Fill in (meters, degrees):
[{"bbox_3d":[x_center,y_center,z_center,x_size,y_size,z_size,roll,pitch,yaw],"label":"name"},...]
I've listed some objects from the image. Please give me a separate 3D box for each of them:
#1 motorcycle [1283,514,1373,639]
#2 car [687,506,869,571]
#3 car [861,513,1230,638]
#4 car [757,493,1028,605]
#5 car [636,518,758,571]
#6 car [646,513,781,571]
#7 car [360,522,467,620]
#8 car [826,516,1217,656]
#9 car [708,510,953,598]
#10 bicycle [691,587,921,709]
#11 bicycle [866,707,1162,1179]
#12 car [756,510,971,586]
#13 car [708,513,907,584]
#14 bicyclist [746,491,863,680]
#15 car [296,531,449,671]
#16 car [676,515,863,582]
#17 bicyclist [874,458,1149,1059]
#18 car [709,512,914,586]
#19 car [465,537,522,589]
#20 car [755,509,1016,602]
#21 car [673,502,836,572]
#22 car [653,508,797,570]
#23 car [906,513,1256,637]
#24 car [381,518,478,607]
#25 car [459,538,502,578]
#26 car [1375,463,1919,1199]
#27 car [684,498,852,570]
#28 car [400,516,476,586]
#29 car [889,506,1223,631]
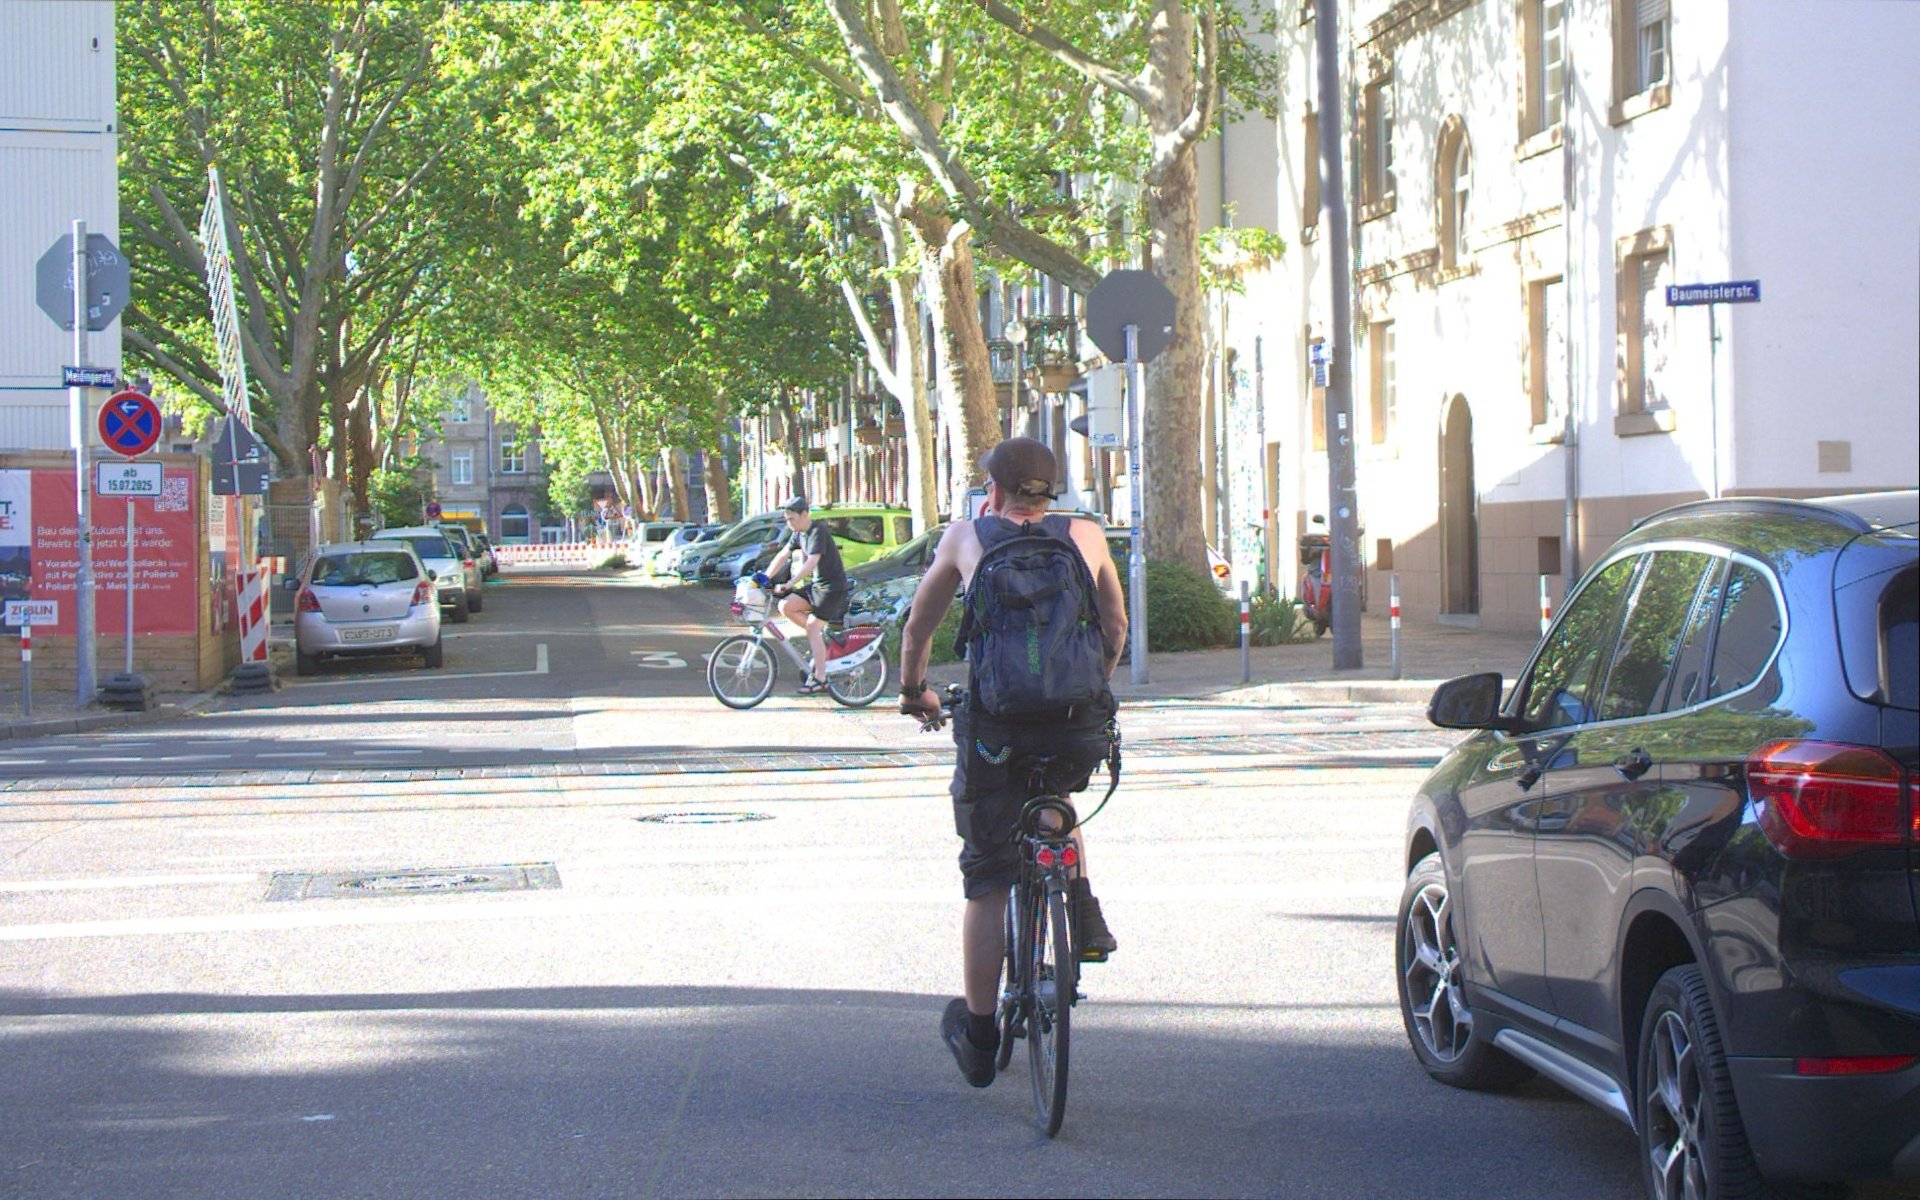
[{"bbox_3d":[4.017,-0.271,37.601,0.513,1.328,1.764,-1,2,-9],"label":"motorcycle"},{"bbox_3d":[-4.632,-1.561,87.171,4.460,1.565,1.729,-1,1,-8],"label":"car"},{"bbox_3d":[1.066,-0.331,43.907,4.460,1.495,1.729,-1,1,-8],"label":"car"},{"bbox_3d":[-1.188,-0.895,59.259,4.460,1.830,1.729,-1,1,-9],"label":"car"},{"bbox_3d":[-9.887,-2.089,129.229,4.460,1.891,1.729,-1,1,-8],"label":"car"},{"bbox_3d":[-8.409,-2.000,117.277,4.460,1.891,1.729,-1,1,-8],"label":"car"},{"bbox_3d":[-9.093,-0.515,57.259,1.665,1.557,4.001,-1,1,-9],"label":"car"},{"bbox_3d":[0.711,-0.190,41.391,4.460,1.565,1.729,-1,1,-8],"label":"car"},{"bbox_3d":[-2.472,-0.878,65.107,4.460,1.565,1.729,-1,1,-8],"label":"car"},{"bbox_3d":[-1.373,0.416,30.659,1.915,1.015,0.682,-2,2,-25],"label":"bicycle"},{"bbox_3d":[0.123,0.844,9.104,0.689,1.013,1.907,1,1,0],"label":"bicycle"},{"bbox_3d":[-2.110,-1.138,74.619,4.460,1.565,1.729,-1,1,-8],"label":"car"},{"bbox_3d":[-3.563,-1.204,80.165,4.460,1.565,1.729,-1,1,-8],"label":"car"},{"bbox_3d":[-1.390,-0.139,30.642,0.809,1.652,0.682,-2,1,-25],"label":"bicyclist"},{"bbox_3d":[-7.014,-0.033,41.239,1.643,1.489,4.001,-3,2,-9],"label":"car"},{"bbox_3d":[-4.713,-1.277,84.829,4.460,1.565,1.729,-1,1,-8],"label":"car"},{"bbox_3d":[0.128,0.393,8.999,0.676,1.508,0.669,1,1,0],"label":"bicyclist"},{"bbox_3d":[-3.379,-1.166,77.693,4.460,1.565,1.729,-1,1,-8],"label":"car"},{"bbox_3d":[-14.848,-1.200,109.354,1.665,1.557,4.220,-1,1,-9],"label":"car"},{"bbox_3d":[-1.350,-0.805,61.273,4.460,1.565,1.729,-1,1,-8],"label":"car"},{"bbox_3d":[-5.821,-1.796,97.161,4.460,1.891,1.729,-1,1,-8],"label":"car"},{"bbox_3d":[-7.515,-1.971,109.893,4.460,1.891,1.729,-1,1,-8],"label":"car"},{"bbox_3d":[1.599,-0.353,46.358,4.460,1.565,1.729,-1,1,-8],"label":"car"},{"bbox_3d":[-9.710,-0.715,62.931,1.665,1.557,4.520,-1,1,-9],"label":"car"},{"bbox_3d":[-19.499,-1.702,139.723,1.665,1.557,4.220,-1,1,-9],"label":"car"},{"bbox_3d":[2.193,0.555,8.099,1.760,1.656,4.198,1,1,-2],"label":"car"},{"bbox_3d":[-5.296,-1.808,94.463,4.460,1.891,1.729,-1,1,-8],"label":"car"},{"bbox_3d":[-12.090,-1.152,79.514,1.665,1.557,4.617,-1,1,-9],"label":"car"},{"bbox_3d":[1.324,-0.461,48.427,4.460,1.665,1.729,-1,1,-8],"label":"car"}]
